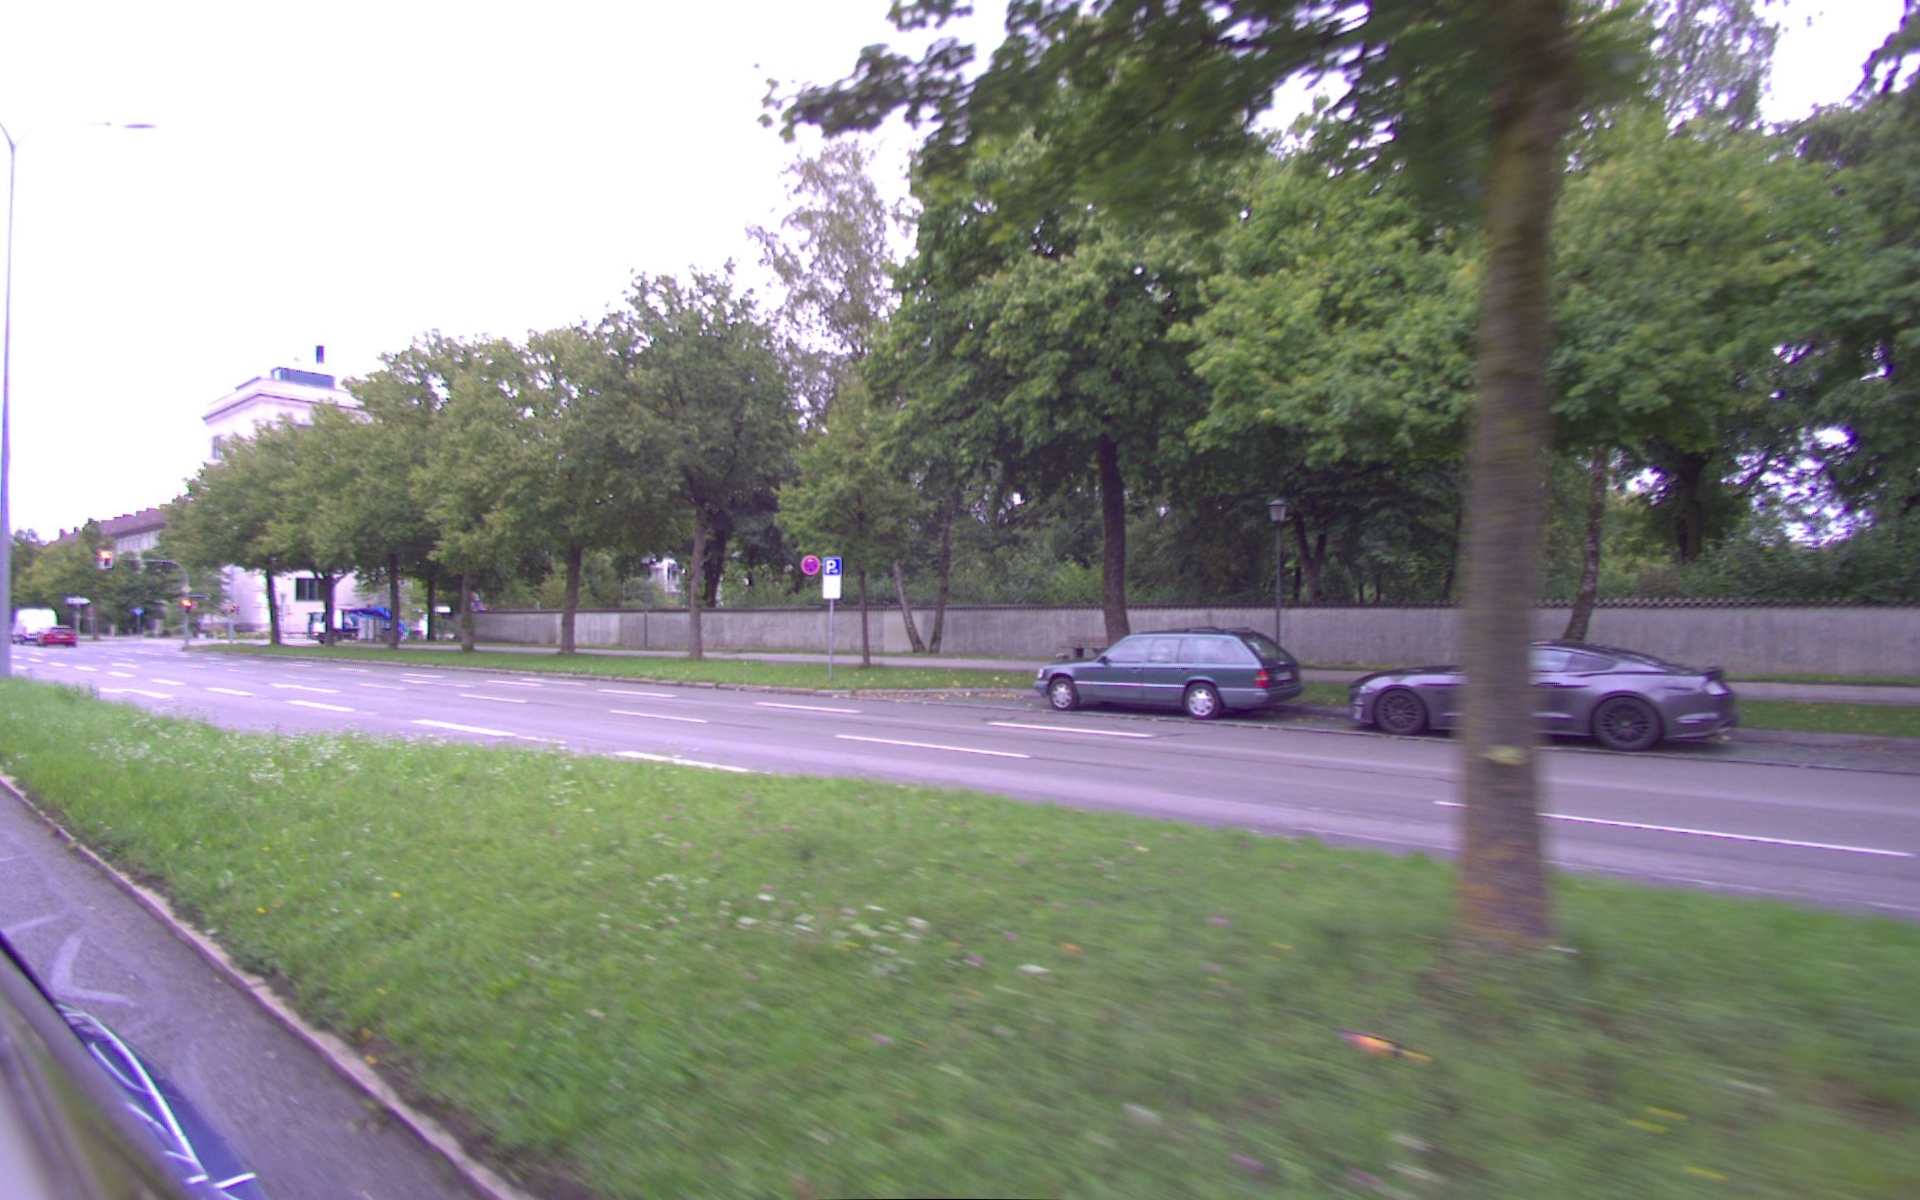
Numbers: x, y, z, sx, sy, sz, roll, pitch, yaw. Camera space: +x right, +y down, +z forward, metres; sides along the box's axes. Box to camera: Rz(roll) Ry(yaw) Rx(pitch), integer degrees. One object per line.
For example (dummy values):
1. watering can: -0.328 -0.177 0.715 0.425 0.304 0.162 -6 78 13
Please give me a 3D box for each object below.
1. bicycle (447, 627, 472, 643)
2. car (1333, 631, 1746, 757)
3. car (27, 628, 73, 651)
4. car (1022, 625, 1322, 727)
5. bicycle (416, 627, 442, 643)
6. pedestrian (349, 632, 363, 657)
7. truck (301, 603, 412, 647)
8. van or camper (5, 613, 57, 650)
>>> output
1. bicycle: -37.969 2.632 76.757 2.494 1.195 0.827 -1 -2 40
2. car: 7.810 1.160 13.961 4.704 1.406 1.642 -2 0 41
3. car: -62.172 2.688 69.115 4.655 1.463 1.725 -2 -4 41
4. car: 3.591 1.228 17.812 4.912 1.501 1.780 -2 0 41
5. bicycle: -39.535 2.603 75.273 2.494 1.195 0.827 -1 -2 40
6. pedestrian: -43.879 3.220 73.531 0.516 1.753 0.701 -1 -2 36
7. truck: -51.411 2.107 86.378 2.771 3.515 7.715 -2 -2 42
8. van or camper: -70.727 2.432 76.999 6.948 2.667 2.155 -2 -4 42
